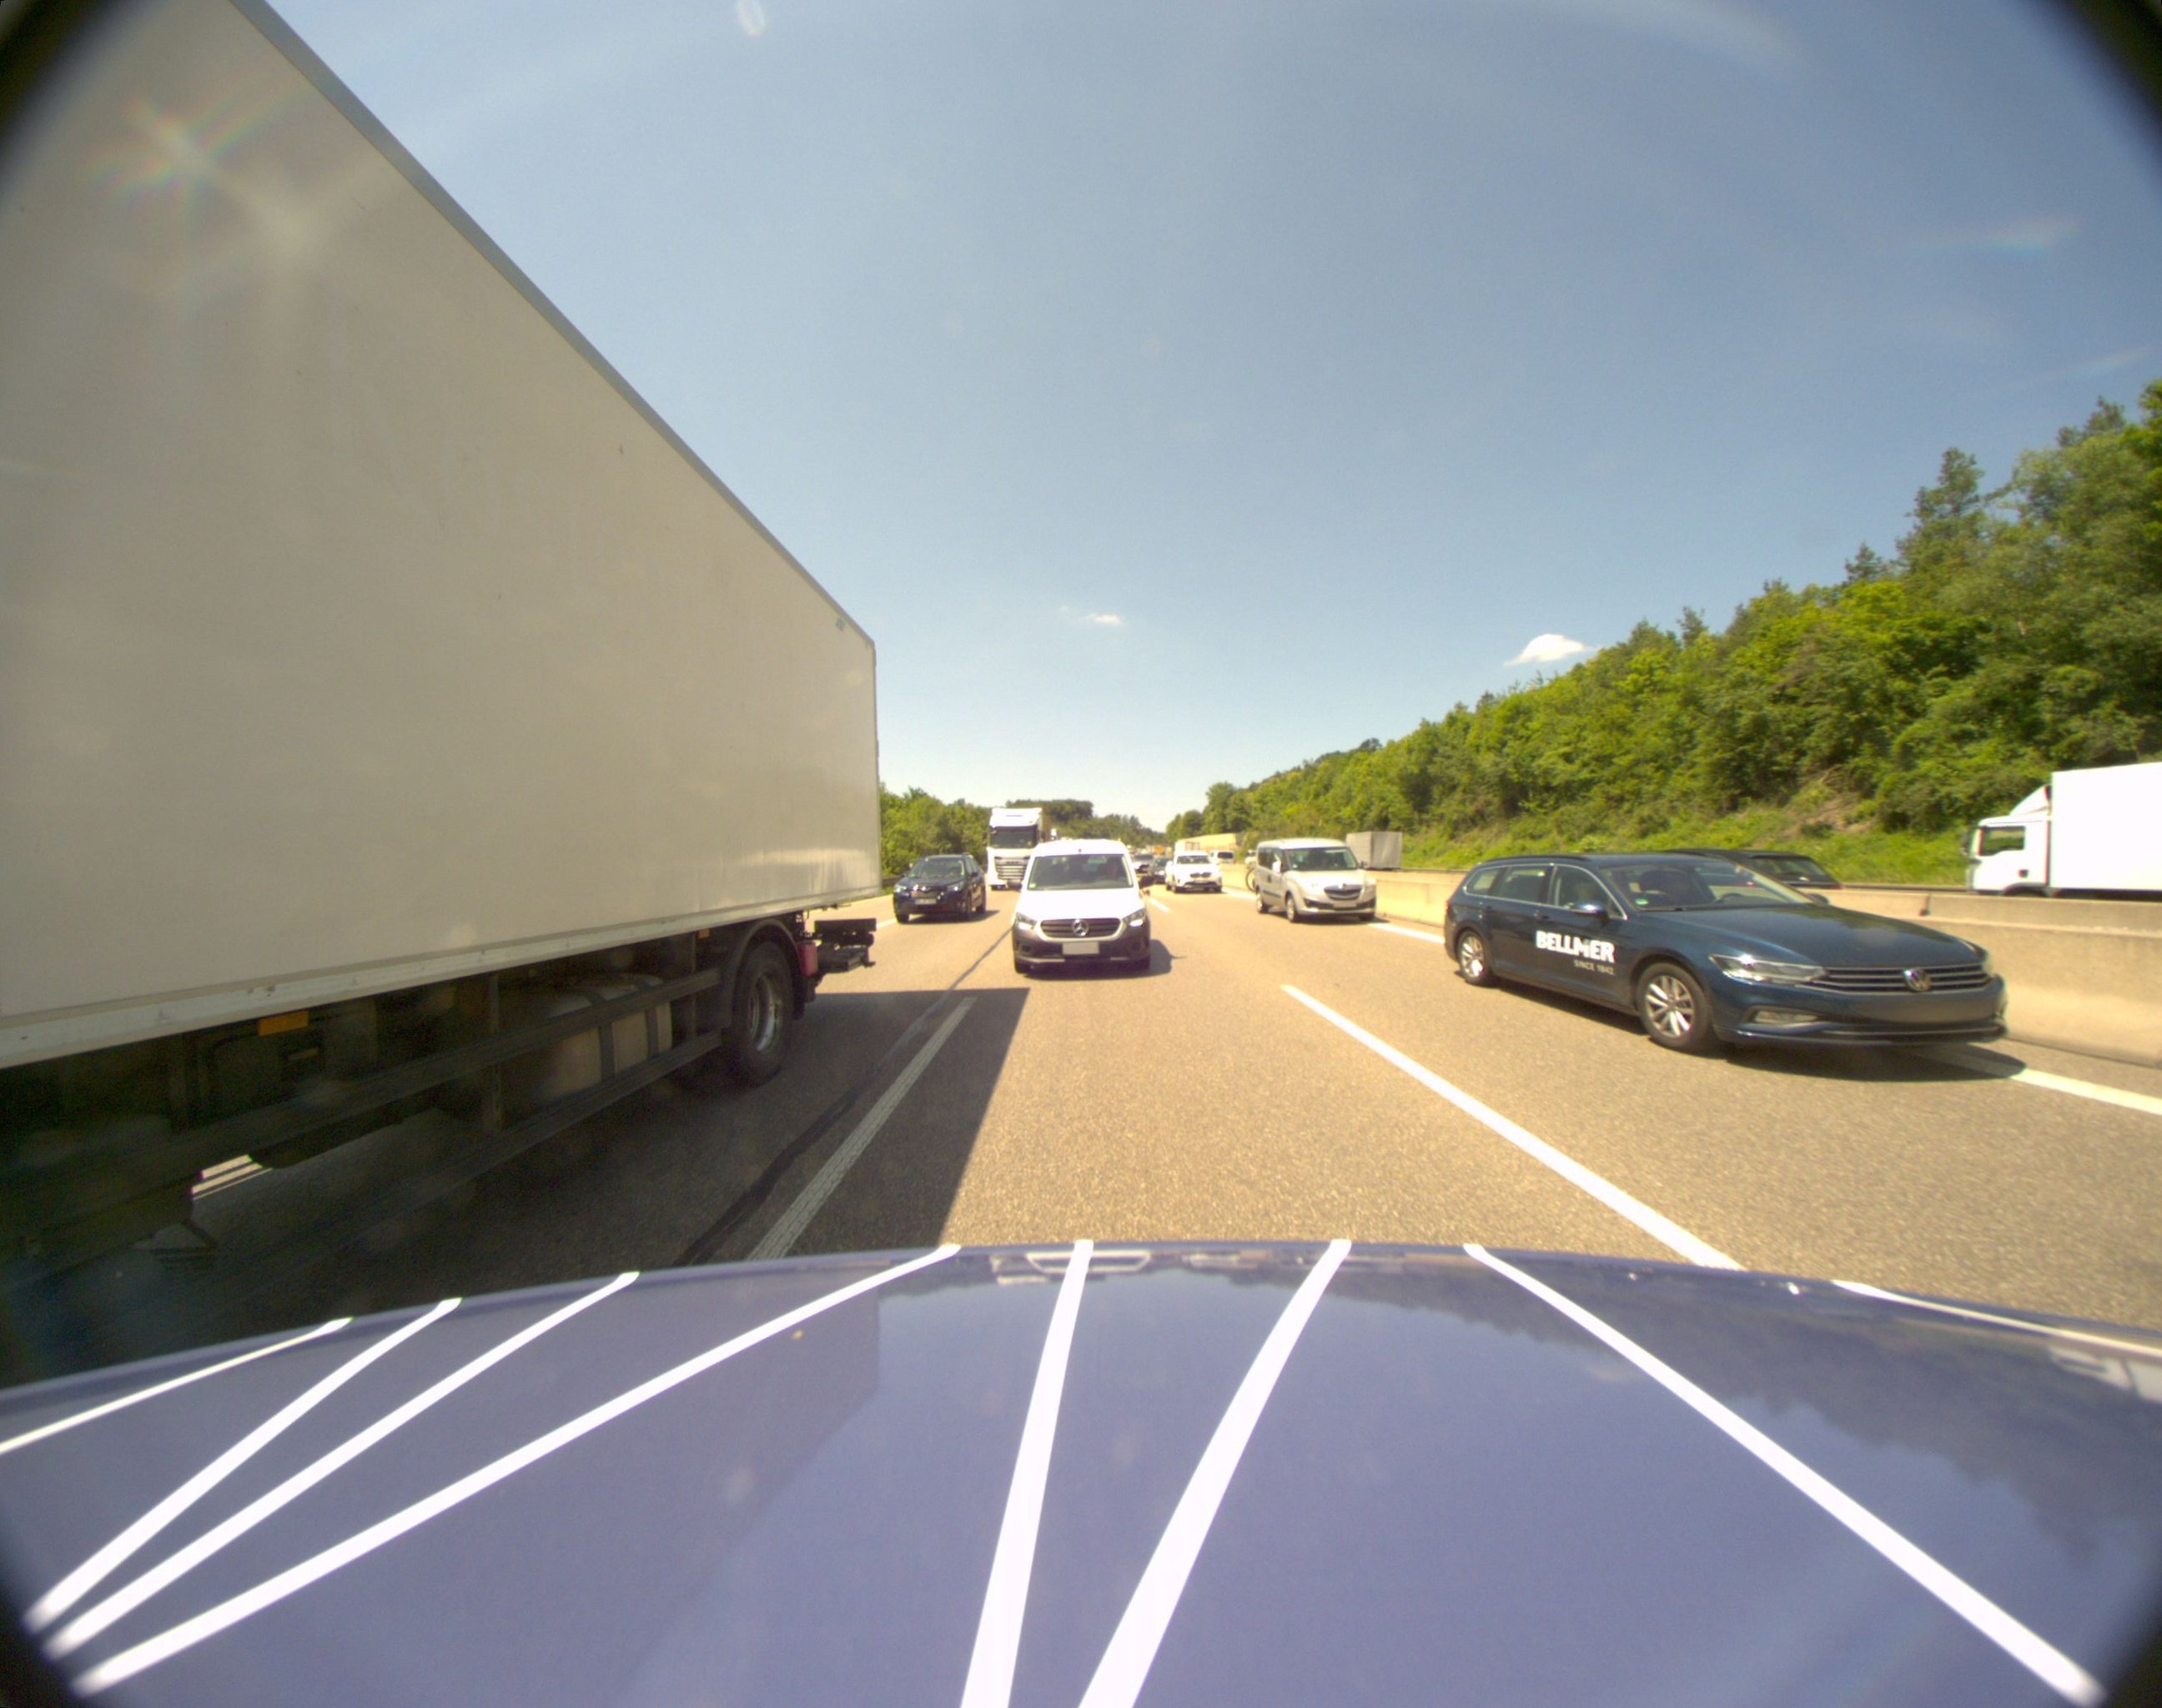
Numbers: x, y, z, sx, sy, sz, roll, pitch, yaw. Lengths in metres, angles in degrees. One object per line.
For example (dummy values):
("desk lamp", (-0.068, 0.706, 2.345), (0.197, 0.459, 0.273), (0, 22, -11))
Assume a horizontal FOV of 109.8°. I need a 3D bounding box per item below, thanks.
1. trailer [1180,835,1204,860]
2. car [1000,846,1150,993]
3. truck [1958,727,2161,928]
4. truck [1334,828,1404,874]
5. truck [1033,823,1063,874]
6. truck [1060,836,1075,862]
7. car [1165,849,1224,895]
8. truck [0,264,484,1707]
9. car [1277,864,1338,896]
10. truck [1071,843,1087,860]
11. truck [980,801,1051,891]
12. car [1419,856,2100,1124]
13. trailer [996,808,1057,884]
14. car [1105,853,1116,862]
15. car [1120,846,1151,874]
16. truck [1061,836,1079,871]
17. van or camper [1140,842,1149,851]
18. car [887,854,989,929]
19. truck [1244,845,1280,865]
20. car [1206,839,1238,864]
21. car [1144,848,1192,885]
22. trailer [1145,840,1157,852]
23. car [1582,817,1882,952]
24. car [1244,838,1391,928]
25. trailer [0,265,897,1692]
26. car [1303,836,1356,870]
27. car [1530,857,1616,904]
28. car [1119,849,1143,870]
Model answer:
("trailer", (20.846, -1.258, 142.917), (2.956, 4.456, 10.814), (-2, 1, 0))
("car", (-0.037, 0.768, 11.318), (1.756, 1.681, 4.363), (-2, 1, 1))
("truck", (22.629, -0.543, 14.470), (2.699, 3.967, 7.989), (-2, 1, 1))
("truck", (19.511, -0.222, 51.834), (2.183, 2.868, 6.741), (-2, 1, 0))
("truck", (-2.993, -0.461, 71.801), (2.394, 4.437, 10.868), (-1, 0, -1))
("truck", (-2.107, -0.763, 124.011), (2.187, 4.073, 10.868), (-1, 0, -1))
("car", (4.559, 0.677, 31.111), (1.824, 1.696, 3.999), (-2, 1, 0))
("truck", (-3.448, 0.303, 0.632), (2.562, 2.924, 4.103), (-1, 1, 0))
("car", (11.408, 1.278, 38.532), (1.829, 1.486, 4.000), (-1, 0, -1))
("truck", (-0.555, -0.569, 202.200), (4.084, 4.403, 11.397), (-2, 0, -1))
("truck", (-3.161, -0.428, 38.688), (2.766, 4.061, 7.333), (-2, 1, 1))
("car", (4.968, 0.796, 6.734), (1.879, 1.442, 4.677), (-2, 1, 0))
("trailer", (-3.039, -0.524, 46.022), (2.766, 4.060, 11.615), (0, 1, 0))
("car", (5.382, 0.657, 140.673), (1.803, 1.660, 4.000), (-1, 0, -1))
("car", (3.942, 0.441, 55.370), (1.998, 2.001, 4.001), (-1, -1, 1))
("truck", (-1.404, -0.015, 101.209), (2.187, 4.437, 10.868), (-1, 0, -1))
("van or camper", (17.418, -1.969, 208.304), (1.998, 2.371, 4.808), (4, 1, 2))
("car", (-3.648, 0.876, 20.251), (1.999, 1.682, 4.609), (0, 1, -2))
("truck", (19.705, 0.076, 83.100), (2.357, 2.002, 6.490), (-2, 1, -1))
("car", (12.183, -0.248, 65.926), (1.998, 2.002, 4.957), (-2, 1, 2))
("car", (4.587, 0.616, 40.686), (1.999, 1.747, 3.999), (-2, 1, -1))
("trailer", (23.795, -2.657, 258.337), (3.005, 3.849, 11.398), (-2, 1, 0))
("car", (11.259, 0.435, 13.599), (1.998, 2.002, 3.999), (-2, 1, 1))
("car", (5.262, 0.536, 17.662), (1.857, 1.762, 4.916), (-2, 1, 0))
("trailer", (-3.434, 0.251, 4.573), (2.562, 2.882, 7.881), (-2, 0, 1))
("car", (15.783, -0.115, 48.480), (1.998, 2.002, 4.419), (-2, 1, 1))
("car", (23.381, 1.196, 36.269), (1.856, 2.002, 3.512), (-2, 1, 1))
("car", (5.041, 0.500, 76.585), (1.999, 2.002, 3.998), (-2, 1, -2))
